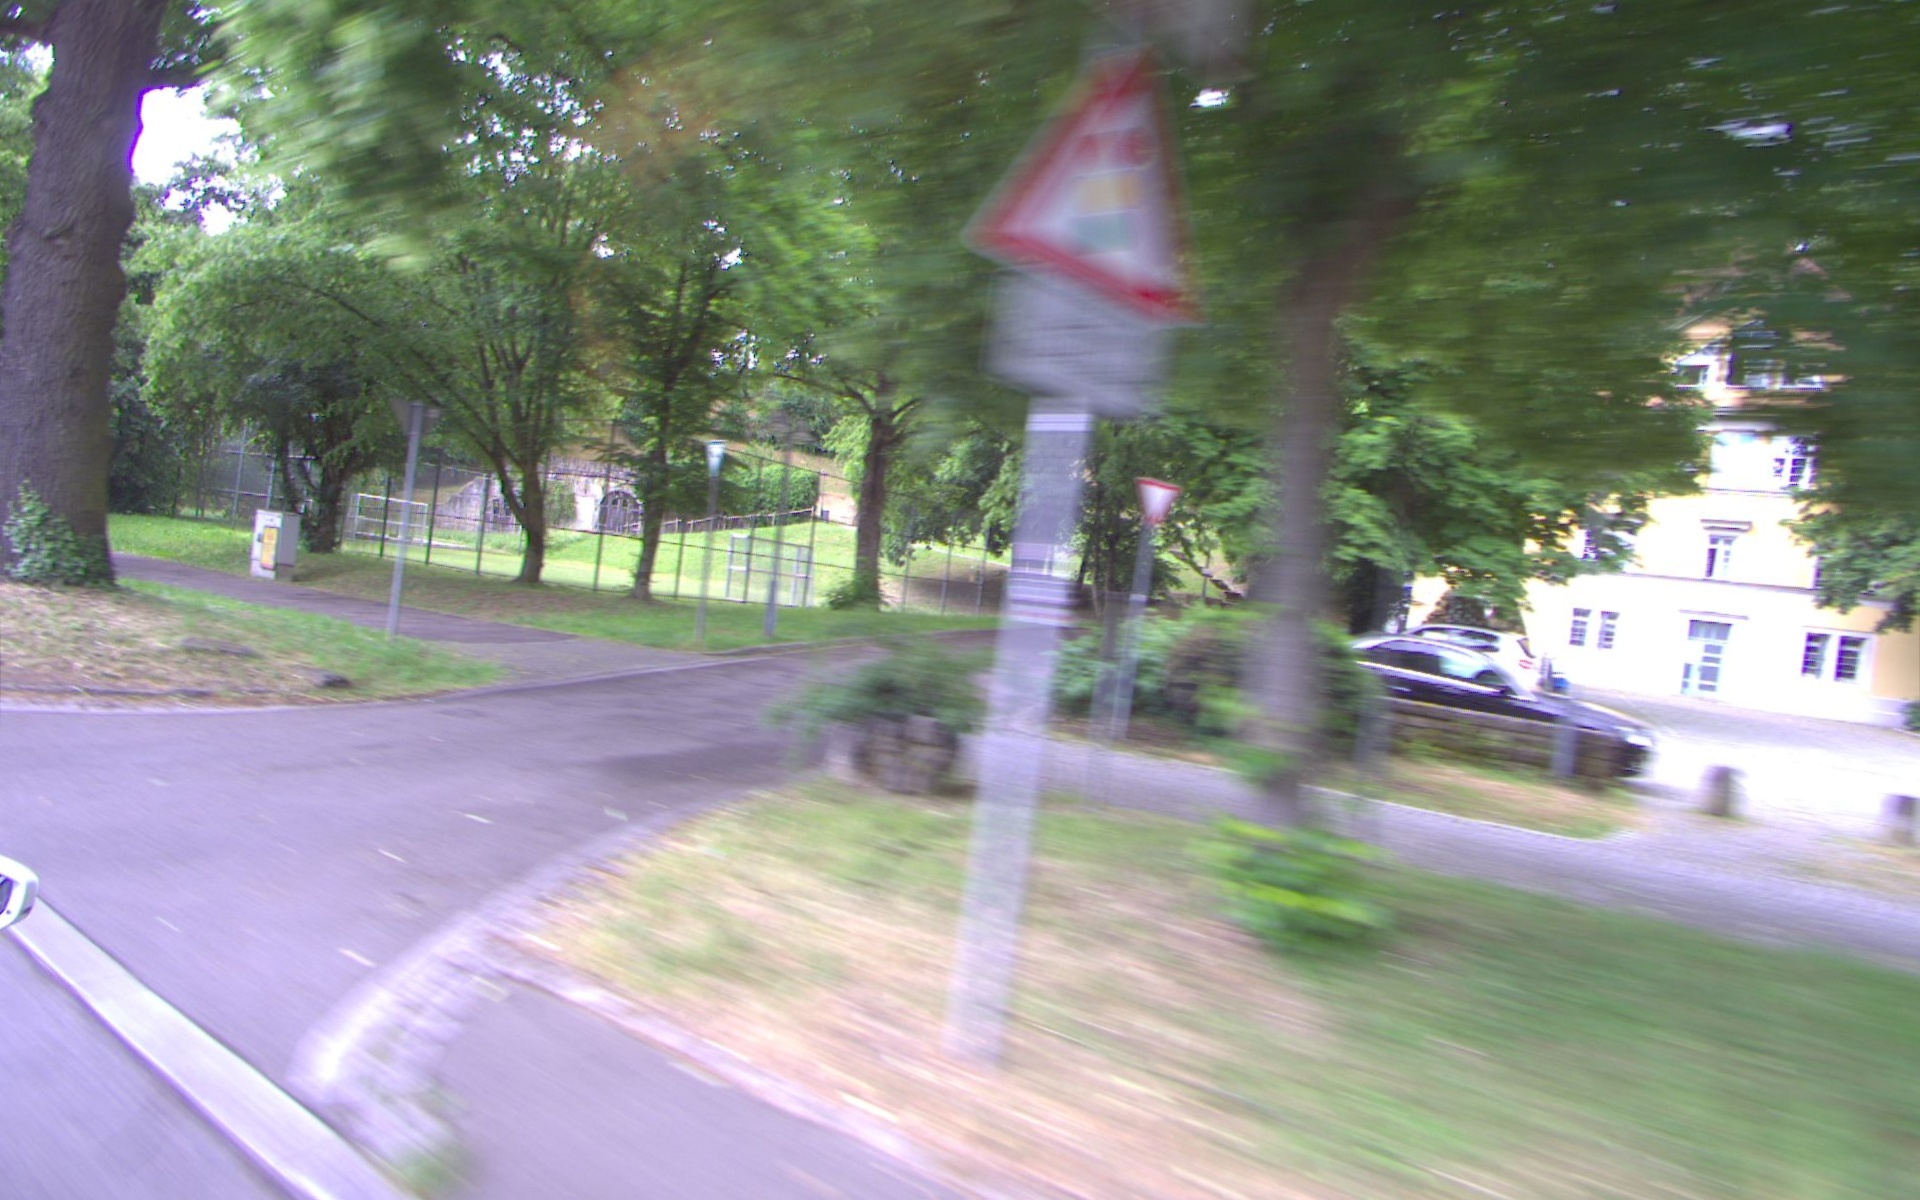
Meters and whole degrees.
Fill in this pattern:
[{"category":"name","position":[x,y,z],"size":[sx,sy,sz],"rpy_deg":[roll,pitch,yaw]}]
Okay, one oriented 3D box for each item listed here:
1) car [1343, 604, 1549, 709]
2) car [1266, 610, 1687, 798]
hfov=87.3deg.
[{"category":"car","position":[11.225,1.225,23.303],"size":[3.933,1.674,1.993],"rpy_deg":[10,5,31]},{"category":"car","position":[6.487,1.209,13.113],"size":[4.386,1.450,1.909],"rpy_deg":[10,3,26]}]
